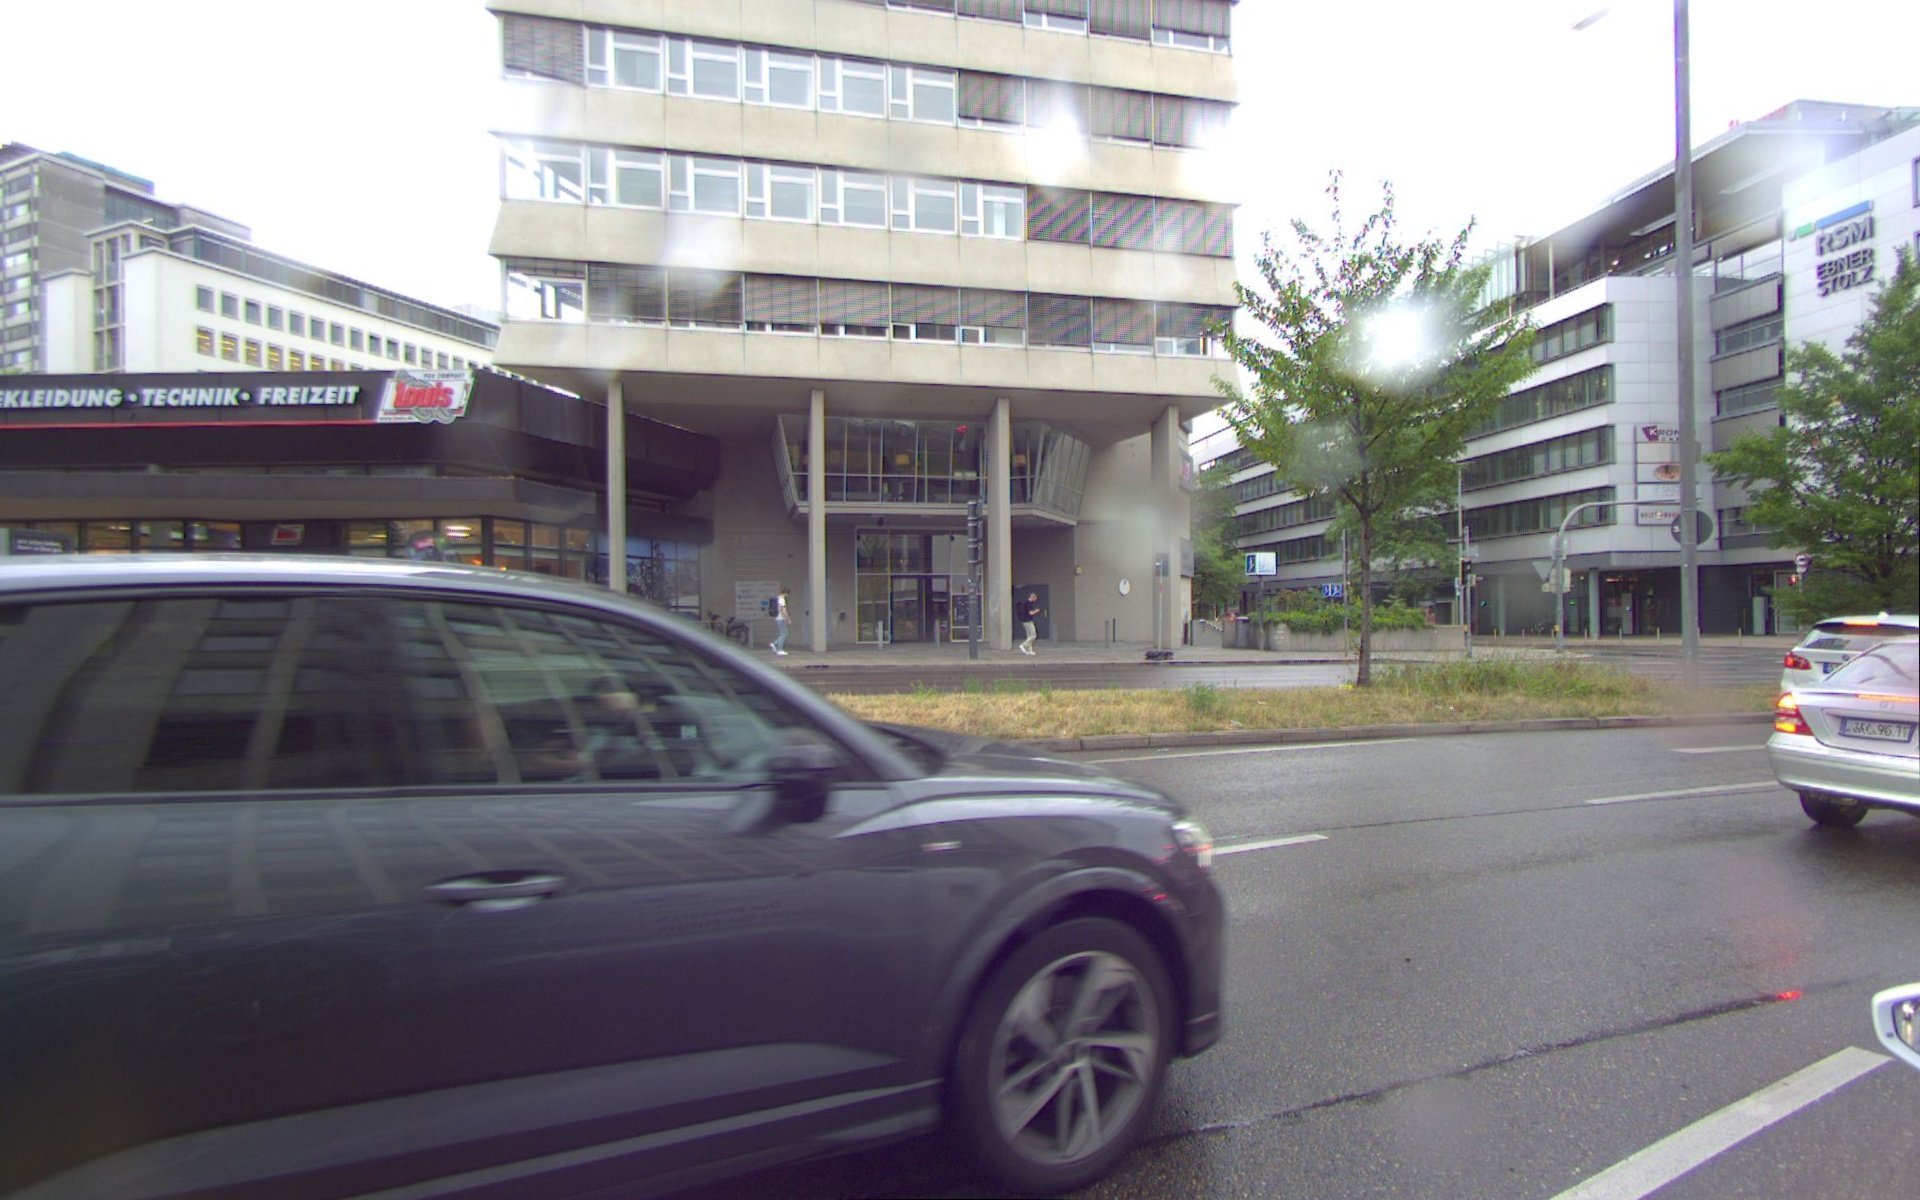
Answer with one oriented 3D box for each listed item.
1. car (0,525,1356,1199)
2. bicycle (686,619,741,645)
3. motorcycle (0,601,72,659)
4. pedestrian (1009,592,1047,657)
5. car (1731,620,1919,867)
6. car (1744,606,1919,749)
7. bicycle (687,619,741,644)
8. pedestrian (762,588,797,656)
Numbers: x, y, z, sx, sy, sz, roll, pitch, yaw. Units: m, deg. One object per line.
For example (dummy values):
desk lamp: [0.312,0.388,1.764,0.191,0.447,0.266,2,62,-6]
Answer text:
car: [-1.139,0.648,2.538,4.242,1.454,1.925,1,-1,-34]
bicycle: [-8.268,1.083,33.704,1.743,0.823,0.454,1,0,-12]
motorcycle: [-23.570,0.735,24.689,0.788,1.392,2.893,1,0,3]
pedestrian: [1.990,0.711,29.314,0.909,1.857,0.727,1,-1,-14]
car: [7.713,0.912,7.211,4.137,1.505,1.678,1,-1,-23]
car: [12.491,0.920,12.961,3.937,1.617,1.883,1,0,-18]
bicycle: [-8.381,1.084,34.284,1.743,0.823,0.454,1,0,-12]
pedestrian: [-5.009,0.604,27.853,0.909,1.857,0.817,1,0,-14]
